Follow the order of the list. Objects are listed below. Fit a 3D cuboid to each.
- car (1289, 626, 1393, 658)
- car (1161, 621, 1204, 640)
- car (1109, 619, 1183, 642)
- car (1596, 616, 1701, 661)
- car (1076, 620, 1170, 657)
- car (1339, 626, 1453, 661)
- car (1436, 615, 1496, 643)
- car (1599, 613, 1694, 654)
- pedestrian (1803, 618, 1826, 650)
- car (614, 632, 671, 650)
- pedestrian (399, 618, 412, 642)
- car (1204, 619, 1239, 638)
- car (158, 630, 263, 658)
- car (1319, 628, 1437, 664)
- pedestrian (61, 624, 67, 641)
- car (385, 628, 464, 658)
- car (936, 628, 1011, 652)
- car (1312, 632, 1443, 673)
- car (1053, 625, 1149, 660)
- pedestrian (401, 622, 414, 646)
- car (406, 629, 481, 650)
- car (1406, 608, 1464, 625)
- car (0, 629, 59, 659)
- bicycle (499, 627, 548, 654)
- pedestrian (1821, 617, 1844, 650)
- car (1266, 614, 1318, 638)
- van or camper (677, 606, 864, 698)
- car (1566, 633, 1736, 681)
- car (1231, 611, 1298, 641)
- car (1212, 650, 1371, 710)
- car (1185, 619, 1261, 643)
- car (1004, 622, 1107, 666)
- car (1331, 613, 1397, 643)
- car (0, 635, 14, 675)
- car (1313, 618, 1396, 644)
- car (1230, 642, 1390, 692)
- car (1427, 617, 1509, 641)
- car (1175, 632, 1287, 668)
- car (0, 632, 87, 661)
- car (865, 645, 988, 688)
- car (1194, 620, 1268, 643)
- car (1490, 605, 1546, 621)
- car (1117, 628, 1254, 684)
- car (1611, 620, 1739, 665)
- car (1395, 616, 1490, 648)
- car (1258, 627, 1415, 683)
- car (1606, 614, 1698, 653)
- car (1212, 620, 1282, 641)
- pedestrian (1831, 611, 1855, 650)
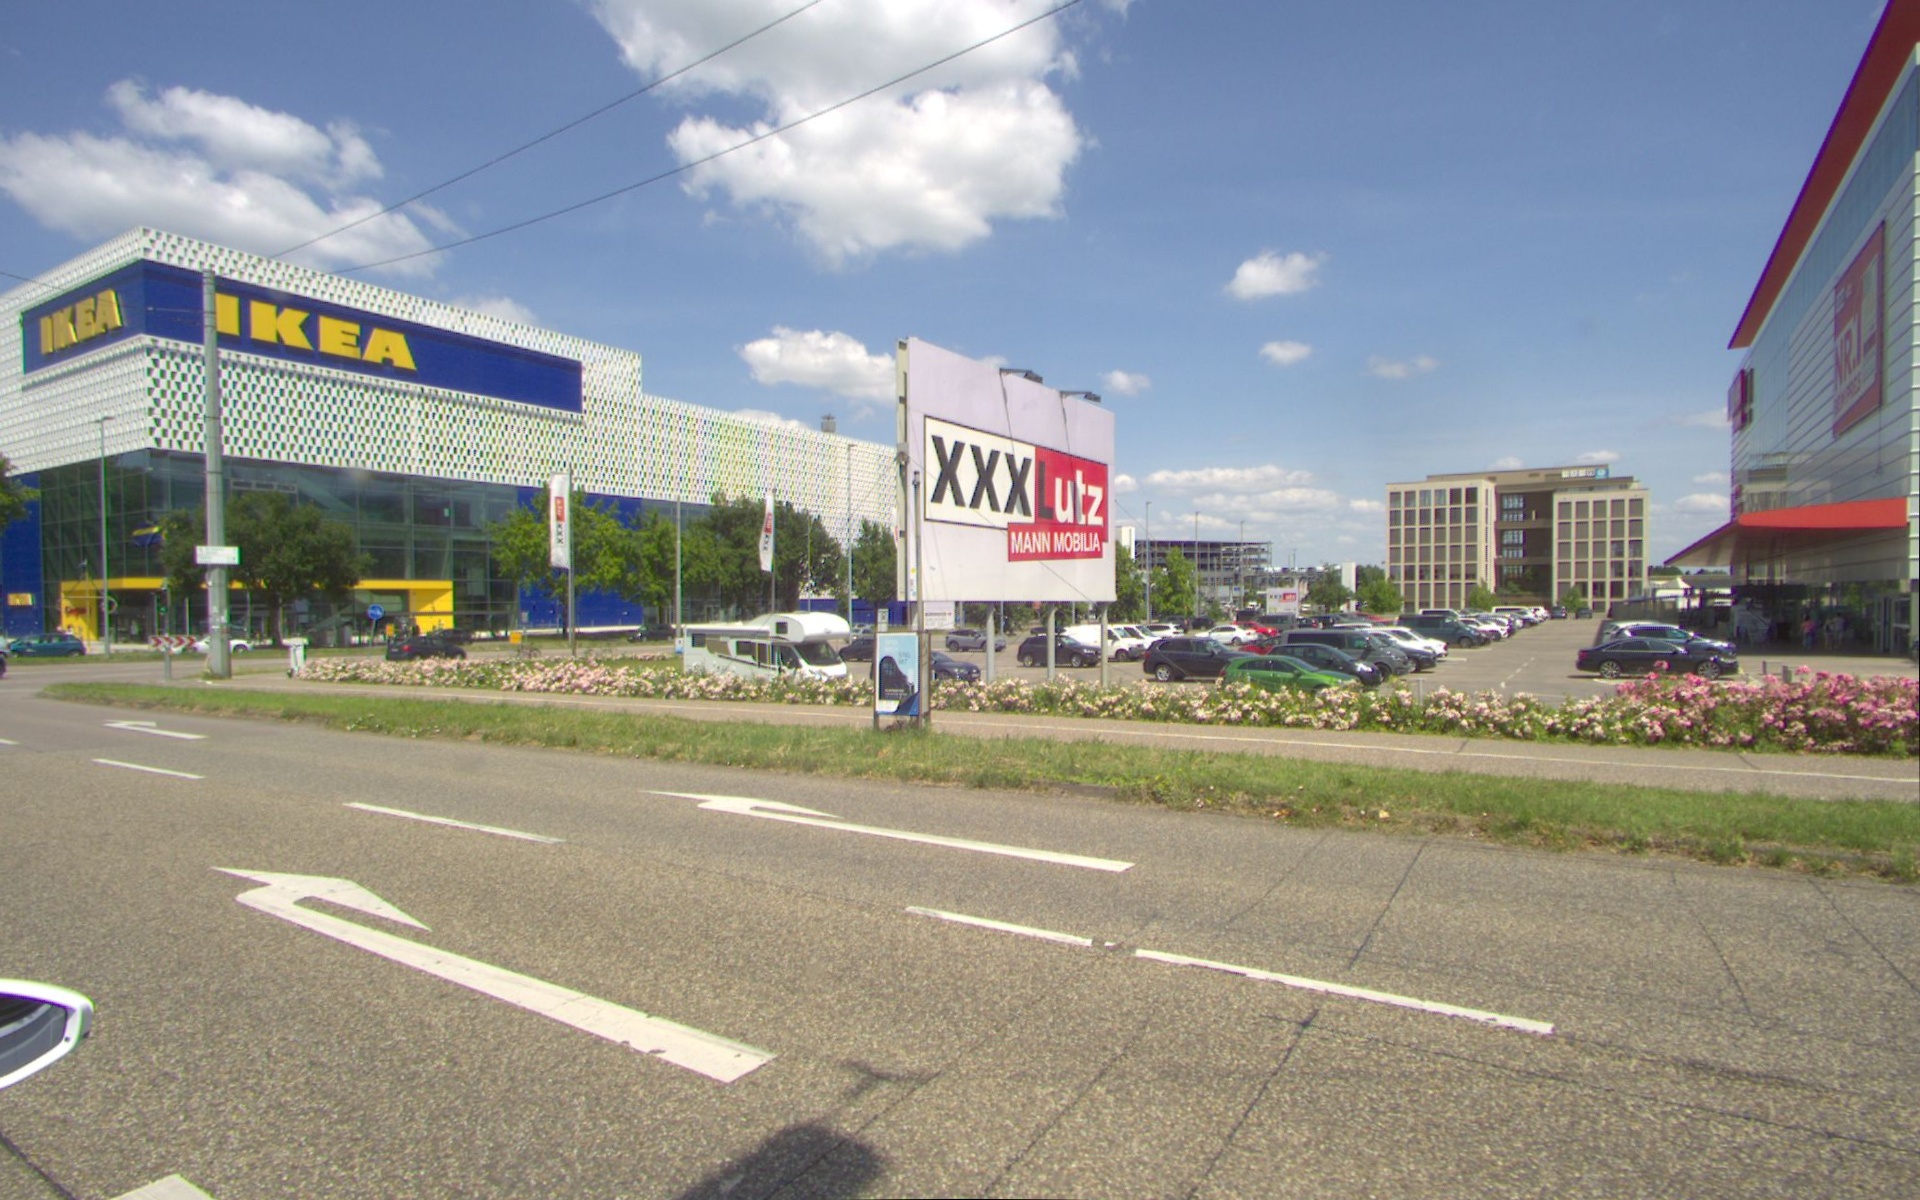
[{"bbox_3d":[20.401,2.235,53.701,4.928,1.631,1.990,-1,-2,32],"label":"car"},{"bbox_3d":[22.570,3.065,101.575,3.943,1.863,1.819,-1,-1,32],"label":"car"},{"bbox_3d":[13.418,2.179,72.173,4.922,1.631,1.993,-1,-1,27],"label":"car"},{"bbox_3d":[32.386,1.800,47.264,3.943,2.040,1.990,-1,-1,32],"label":"car"},{"bbox_3d":[9.353,2.201,57.605,4.930,2.033,1.990,-1,-1,33],"label":"car"},{"bbox_3d":[21.519,2.106,49.480,4.930,1.671,1.990,-1,-2,33],"label":"car"},{"bbox_3d":[38.800,2.223,76.742,3.943,2.040,1.990,-1,-1,32],"label":"car"},{"bbox_3d":[35.416,1.714,51.761,3.943,2.039,1.990,-1,-1,32],"label":"car"},{"bbox_3d":[42.423,1.671,49.705,0.725,1.578,0.739,0,-1,30],"label":"pedestrian"},{"bbox_3d":[-27.591,3.542,87.138,1.974,1.505,4.485,-1,-3,36],"label":"car"},{"bbox_3d":[-47.519,2.566,85.801,0.813,2.040,0.709,0,-1,35],"label":"pedestrian"},{"bbox_3d":[33.760,3.644,129.281,4.067,2.038,1.481,3,-3,33],"label":"car"},{"bbox_3d":[-43.225,2.546,57.828,1.974,1.505,4.485,-1,-3,36],"label":"car"},{"bbox_3d":[19.726,2.139,47.316,4.930,1.631,1.990,-1,-2,33],"label":"car"},{"bbox_3d":[-72.374,2.629,80.864,0.263,1.360,0.288,-1,0,32],"label":"pedestrian"},{"bbox_3d":[-29.739,2.366,55.726,1.733,1.546,4.098,0,-1,10],"label":"car"},{"bbox_3d":[0.933,2.808,70.918,5.084,1.631,1.990,-1,-2,33],"label":"car"},{"bbox_3d":[17.831,2.204,42.808,4.930,1.631,1.990,-1,-2,33],"label":"car"},{"bbox_3d":[7.809,2.333,55.532,4.930,1.876,1.990,-1,-2,33],"label":"car"},{"bbox_3d":[-46.903,2.911,85.013,0.813,2.040,0.709,0,-1,35],"label":"pedestrian"},{"bbox_3d":[-37.551,2.867,72.907,1.974,1.505,4.484,-1,-2,36],"label":"car"},{"bbox_3d":[46.191,1.612,97.476,4.930,1.631,1.990,-1,-2,33],"label":"car"},{"bbox_3d":[-48.194,2.186,49.954,1.974,1.505,4.485,-1,-3,36],"label":"car"},{"bbox_3d":[-24.922,2.318,57.193,0.976,1.500,2.415,-1,-1,37],"label":"bicycle"},{"bbox_3d":[42.275,1.633,48.529,0.725,1.578,0.739,0,-1,30],"label":"pedestrian"},{"bbox_3d":[29.244,2.323,88.205,3.943,2.040,1.990,-1,-1,32],"label":"car"},{"bbox_3d":[-6.949,1.813,36.250,7.129,3.059,2.499,-1,-1,36],"label":"van or camper"},{"bbox_3d":[24.906,2.009,36.333,4.930,1.631,1.990,-1,-2,33],"label":"car"},{"bbox_3d":[25.082,2.148,82.458,4.930,2.333,1.990,-1,-1,33],"label":"car"},{"bbox_3d":[10.091,2.384,30.536,4.242,1.517,1.988,-1,2,33],"label":"car"},{"bbox_3d":[18.838,2.232,71.912,4.930,1.631,1.990,-1,-2,33],"label":"car"},{"bbox_3d":[4.885,2.227,51.565,4.930,2.162,1.990,-1,-1,33],"label":"car"},{"bbox_3d":[27.944,1.930,69.268,3.943,2.039,1.990,-1,-1,32],"label":"car"},{"bbox_3d":[-36.303,1.995,35.865,1.810,1.473,3.995,1,-2,-15],"label":"car"},{"bbox_3d":[26.499,2.076,67.262,4.930,1.631,1.990,-1,-2,33],"label":"car"},{"bbox_3d":[12.079,2.269,34.700,4.930,1.570,1.990,-1,-2,33],"label":"car"},{"bbox_3d":[35.344,2.016,69.677,4.930,1.631,1.990,-1,-2,33],"label":"car"},{"bbox_3d":[13.241,2.396,48.994,4.930,1.632,1.989,-1,0,33],"label":"car"},{"bbox_3d":[-49.661,2.492,53.815,1.974,1.505,3.779,-1,-3,36],"label":"car"},{"bbox_3d":[-1.385,2.662,40.873,4.702,1.558,1.989,-1,0,33],"label":"car"},{"bbox_3d":[20.024,2.323,73.952,4.930,1.631,1.990,-1,-2,33],"label":"car"},{"bbox_3d":[57.055,1.360,102.383,4.930,1.631,1.990,-1,-2,33],"label":"car"},{"bbox_3d":[8.938,2.161,39.775,4.930,2.040,1.989,-1,1,33],"label":"car"},{"bbox_3d":[30.073,1.794,42.310,4.272,1.804,1.990,-1,-3,33],"label":"car"},{"bbox_3d":[29.600,1.984,61.491,5.106,1.889,1.991,-1,-1,31],"label":"car"},{"bbox_3d":[14.546,2.062,38.819,5.456,2.039,1.990,-1,-1,33],"label":"car"},{"bbox_3d":[37.073,1.793,53.801,3.943,2.040,1.990,-1,-1,32],"label":"car"},{"bbox_3d":[22.420,2.392,78.378,4.930,1.631,1.990,-1,-2,33],"label":"car"},{"bbox_3d":[43.424,1.511,49.233,0.725,1.893,0.739,0,-1,30],"label":"pedestrian"}]
